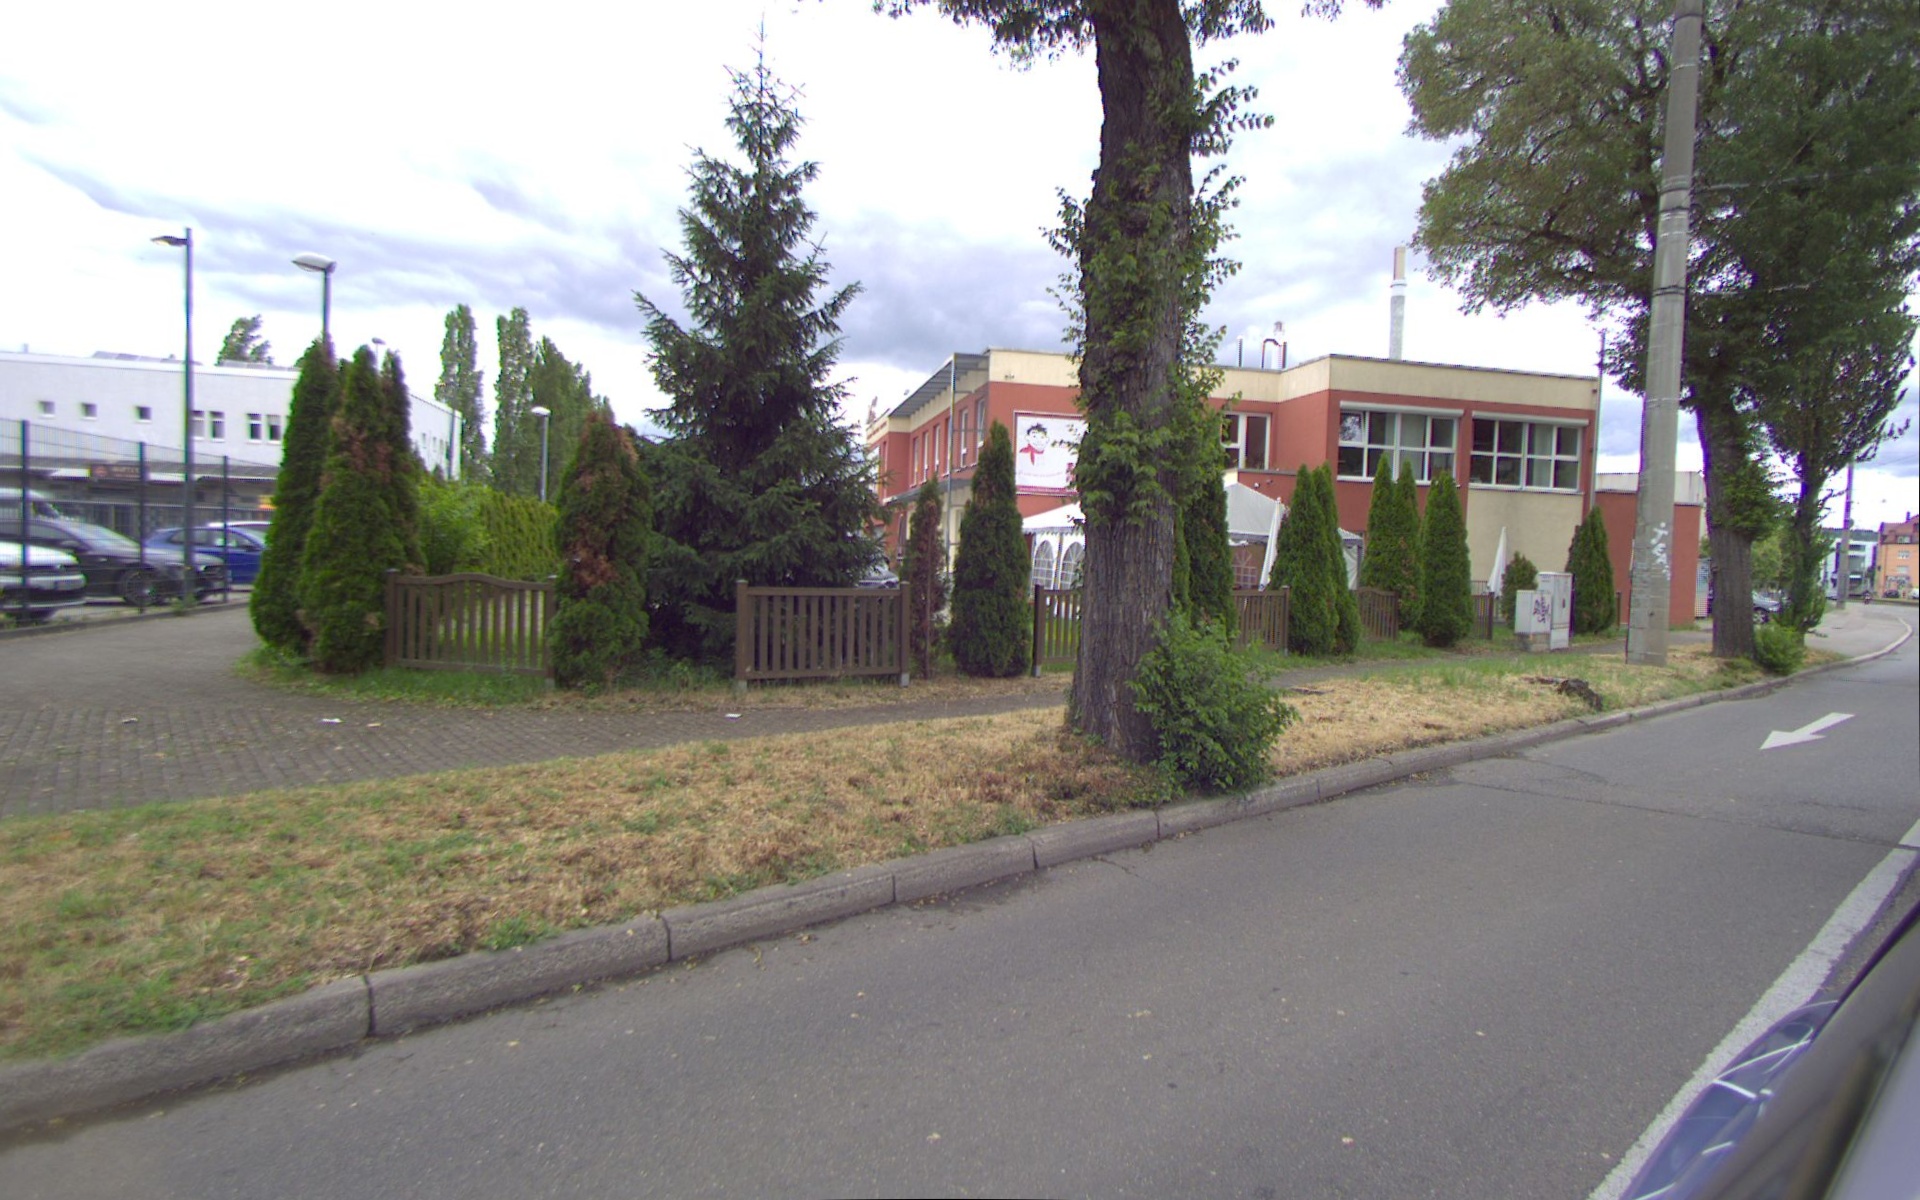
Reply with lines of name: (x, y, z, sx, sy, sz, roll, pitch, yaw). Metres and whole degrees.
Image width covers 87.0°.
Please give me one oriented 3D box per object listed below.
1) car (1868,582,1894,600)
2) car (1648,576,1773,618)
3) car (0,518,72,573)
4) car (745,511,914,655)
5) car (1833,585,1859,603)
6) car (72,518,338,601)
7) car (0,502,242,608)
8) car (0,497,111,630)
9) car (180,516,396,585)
car: (94.676, -0.957, 104.012, 1.864, 1.772, 3.937, 0, 1, 44)
car: (30.938, -0.135, 41.786, 3.986, 1.666, 1.867, 0, 1, 43)
car: (-31.139, -1.703, 31.980, 4.181, 1.670, 2.004, -1, 0, -17)
car: (-2.260, -0.265, 16.511, 1.958, 2.039, 4.008, 0, 0, -19)
car: (103.874, -0.753, 118.665, 1.903, 1.737, 4.072, 10, 9, 43)
car: (-16.975, -0.915, 23.005, 4.407, 1.686, 2.005, 1, 2, -14)
car: (-15.515, -0.797, 17.698, 4.407, 1.686, 2.005, 1, 2, -14)
car: (-14.393, -0.544, 13.392, 4.407, 1.686, 2.005, 1, 2, -14)
car: (-17.931, -1.314, 27.238, 4.407, 1.686, 2.005, 1, 2, -14)
